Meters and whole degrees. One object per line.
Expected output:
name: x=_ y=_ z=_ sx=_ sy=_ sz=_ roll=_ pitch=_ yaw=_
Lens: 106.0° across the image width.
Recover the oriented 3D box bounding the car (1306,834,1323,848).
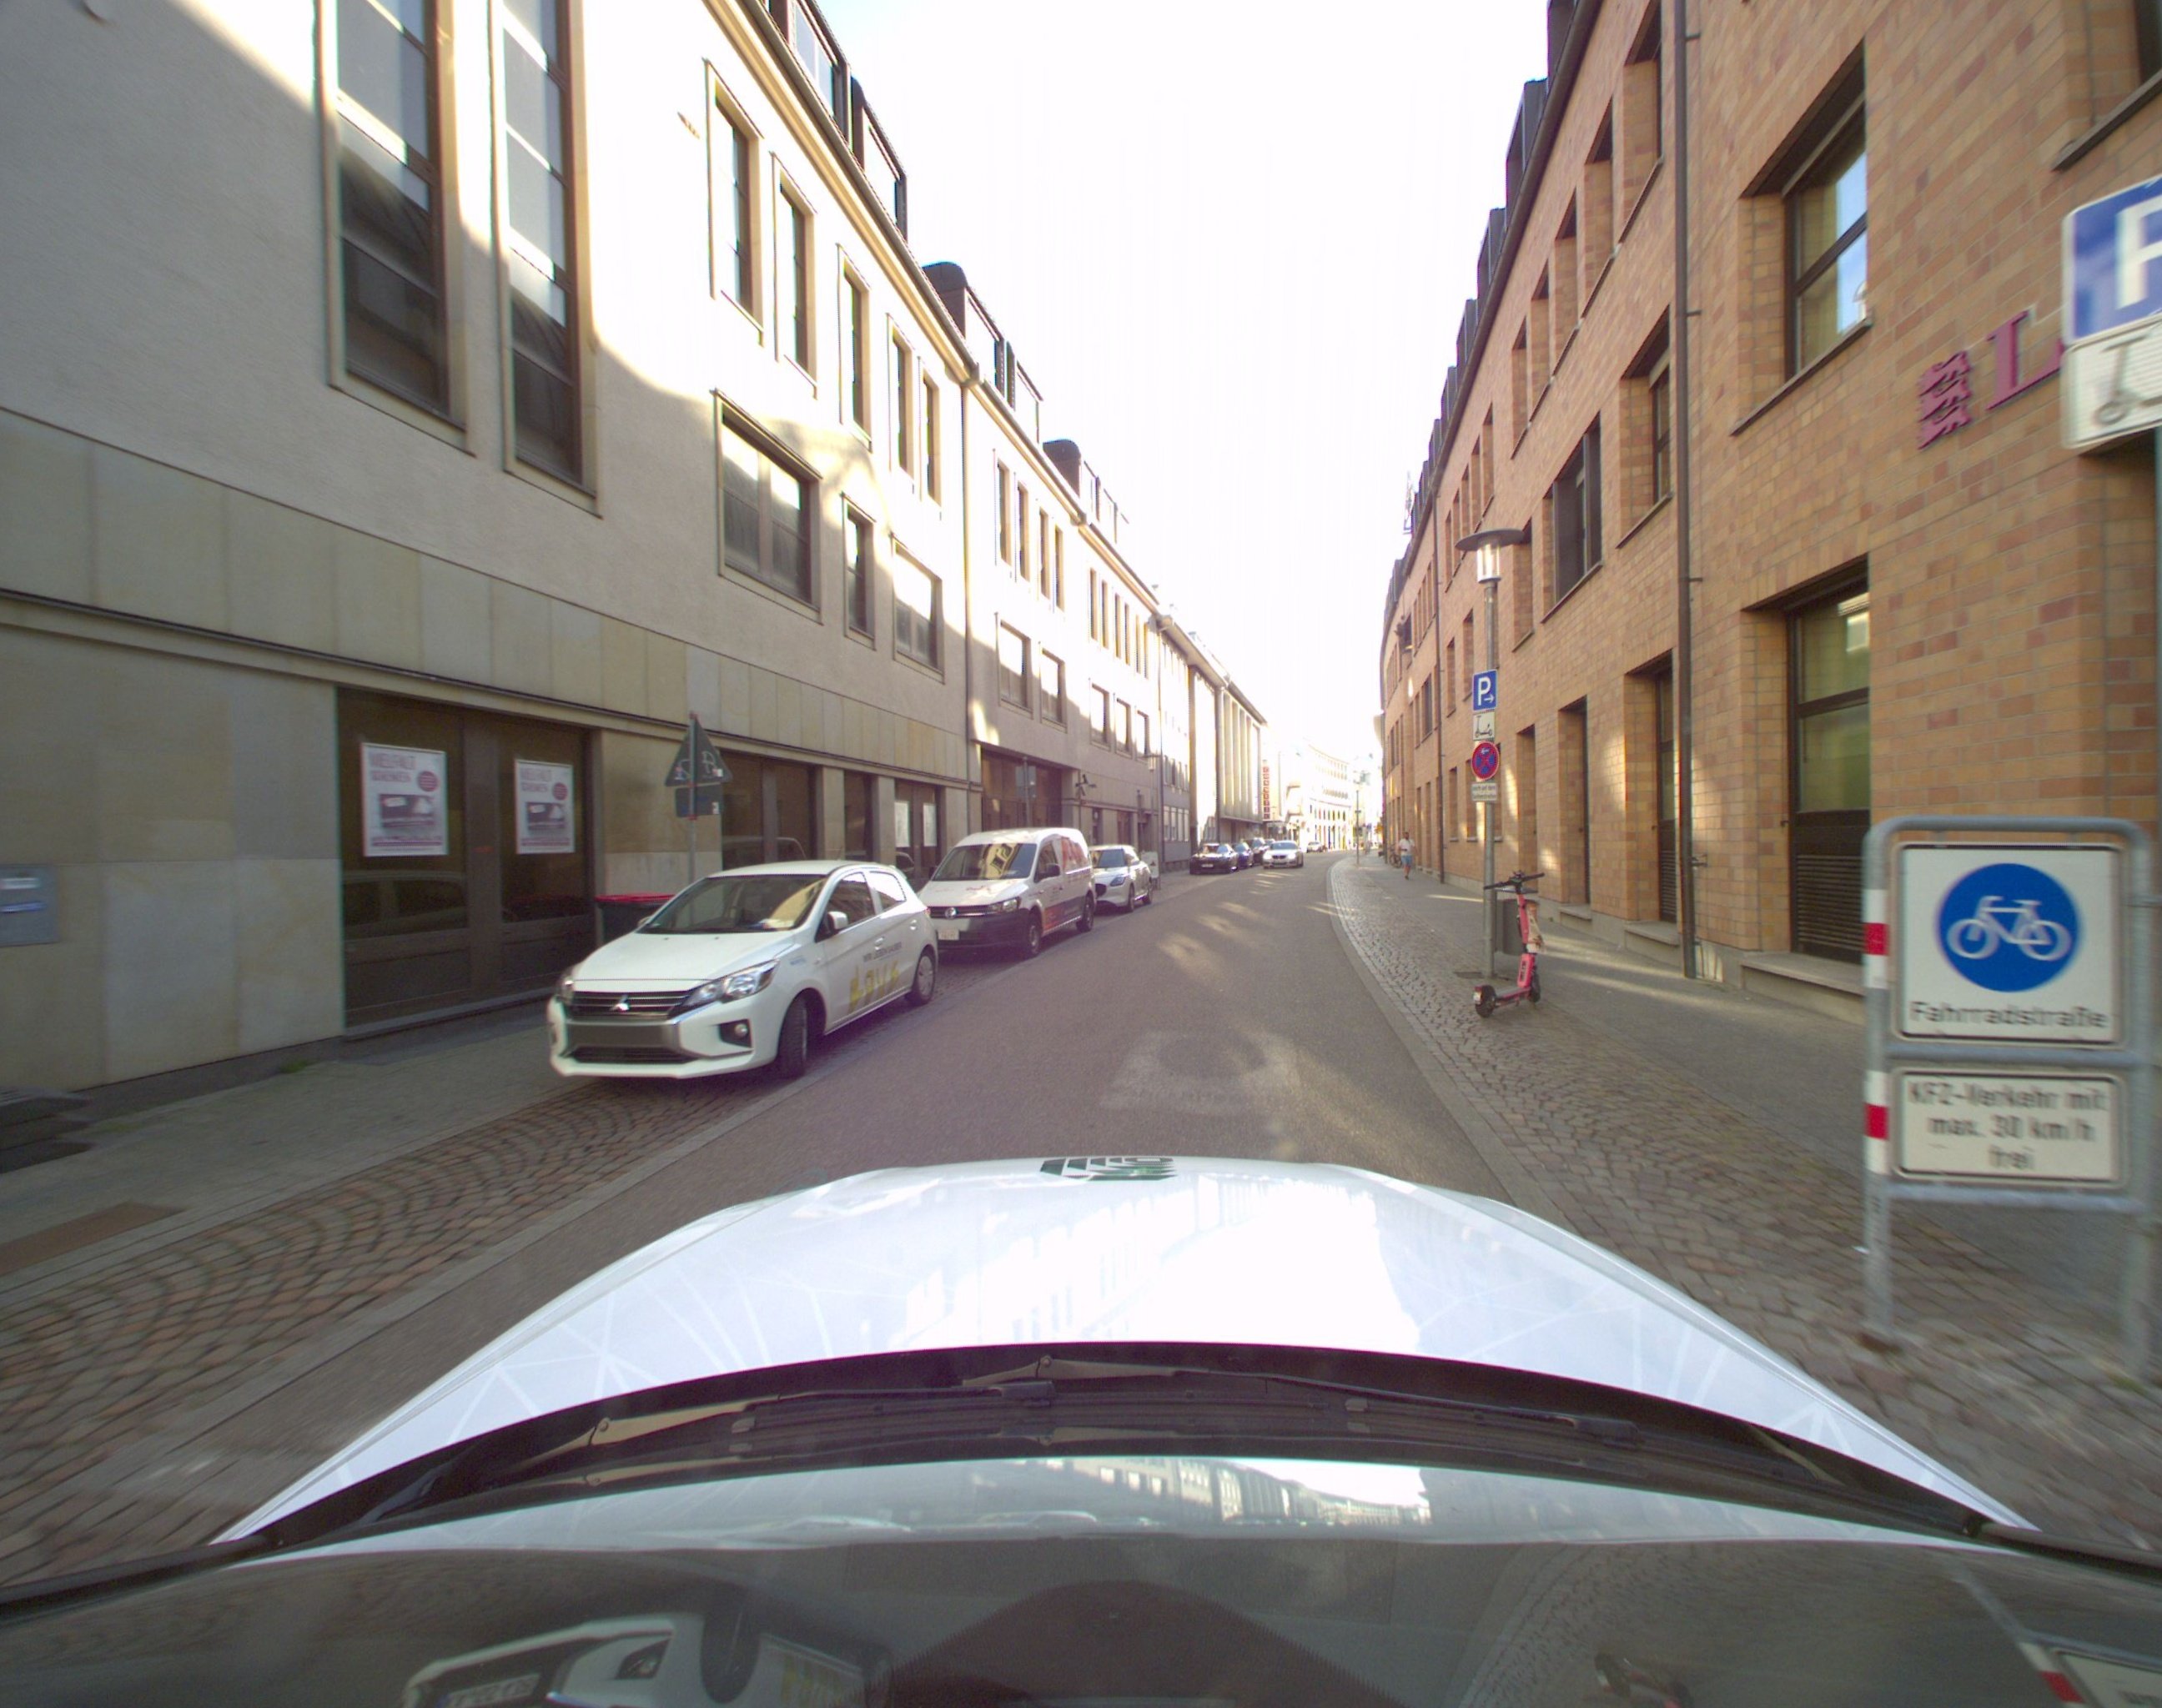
car: x=28.934 y=-1.643 z=100.730 sx=1.722 sy=1.605 sz=3.551 roll=0 pitch=2 yaw=21

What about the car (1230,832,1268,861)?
car: x=10.509 y=-0.488 z=50.740 sx=1.875 sy=1.675 sz=4.574 roll=-1 pitch=1 yaw=17

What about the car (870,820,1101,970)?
car: x=-1.190 y=0.472 z=12.682 sx=1.885 sy=1.857 sz=4.753 roll=-3 pitch=1 yaw=14

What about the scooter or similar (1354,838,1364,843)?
scooter or similar: x=49.119 y=-2.360 z=143.743 sx=2.239 sy=0.928 sz=0.521 roll=-2 pitch=2 yaw=-40

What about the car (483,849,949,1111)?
car: x=-2.576 y=0.780 z=6.876 sx=1.727 sy=1.492 sz=3.809 roll=-3 pitch=1 yaw=8

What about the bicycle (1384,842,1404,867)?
bicycle: x=14.752 y=-0.003 z=38.417 sx=0.545 sy=1.103 sz=1.990 roll=-4 pitch=1 yaw=14

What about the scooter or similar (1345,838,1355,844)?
scooter or similar: x=45.978 y=-2.229 z=139.261 sx=2.239 sy=0.928 sz=0.521 roll=-2 pitch=2 yaw=-40

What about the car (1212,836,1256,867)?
car: x=8.459 y=-0.157 z=44.795 sx=1.875 sy=1.530 sz=4.359 roll=-1 pitch=1 yaw=16

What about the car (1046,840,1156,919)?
car: x=0.575 y=0.505 z=18.815 sx=1.657 sy=1.522 sz=3.791 roll=-3 pitch=1 yaw=14

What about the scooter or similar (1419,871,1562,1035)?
scooter or similar: x=3.609 y=0.804 z=7.140 sx=1.425 sy=1.235 sz=0.532 roll=-2 pitch=2 yaw=-36

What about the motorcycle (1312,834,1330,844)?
motorcycle: x=32.749 y=-2.080 z=111.126 sx=2.370 sy=1.317 sz=0.866 roll=-2 pitch=1 yaw=20

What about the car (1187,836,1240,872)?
car: x=6.379 y=-0.046 z=38.844 sx=1.875 sy=1.530 sz=4.750 roll=-1 pitch=1 yaw=17

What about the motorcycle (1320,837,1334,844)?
motorcycle: x=32.415 y=-1.754 z=107.159 sx=1.676 sy=0.859 sz=0.598 roll=1 pitch=1 yaw=25

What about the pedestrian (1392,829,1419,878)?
pedestrian: x=11.586 y=-0.027 z=29.065 sx=0.754 sy=1.716 sz=0.825 roll=-3 pitch=1 yaw=16

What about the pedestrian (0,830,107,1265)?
pedestrian: x=-5.065 y=0.843 z=3.530 sx=0.853 sy=1.854 sz=0.718 roll=-2 pitch=0 yaw=12

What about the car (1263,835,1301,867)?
car: x=10.561 y=-0.203 z=42.637 sx=1.701 sy=1.517 sz=4.179 roll=-1 pitch=1 yaw=17

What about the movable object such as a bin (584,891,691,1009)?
movable object such as a bin: x=-4.496 y=0.952 z=8.275 sx=0.732 sy=1.100 sz=0.593 roll=1 pitch=1 yaw=11

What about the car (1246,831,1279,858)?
car: x=12.798 y=-0.716 z=57.224 sx=1.875 sy=1.742 sz=4.410 roll=-1 pitch=1 yaw=16
